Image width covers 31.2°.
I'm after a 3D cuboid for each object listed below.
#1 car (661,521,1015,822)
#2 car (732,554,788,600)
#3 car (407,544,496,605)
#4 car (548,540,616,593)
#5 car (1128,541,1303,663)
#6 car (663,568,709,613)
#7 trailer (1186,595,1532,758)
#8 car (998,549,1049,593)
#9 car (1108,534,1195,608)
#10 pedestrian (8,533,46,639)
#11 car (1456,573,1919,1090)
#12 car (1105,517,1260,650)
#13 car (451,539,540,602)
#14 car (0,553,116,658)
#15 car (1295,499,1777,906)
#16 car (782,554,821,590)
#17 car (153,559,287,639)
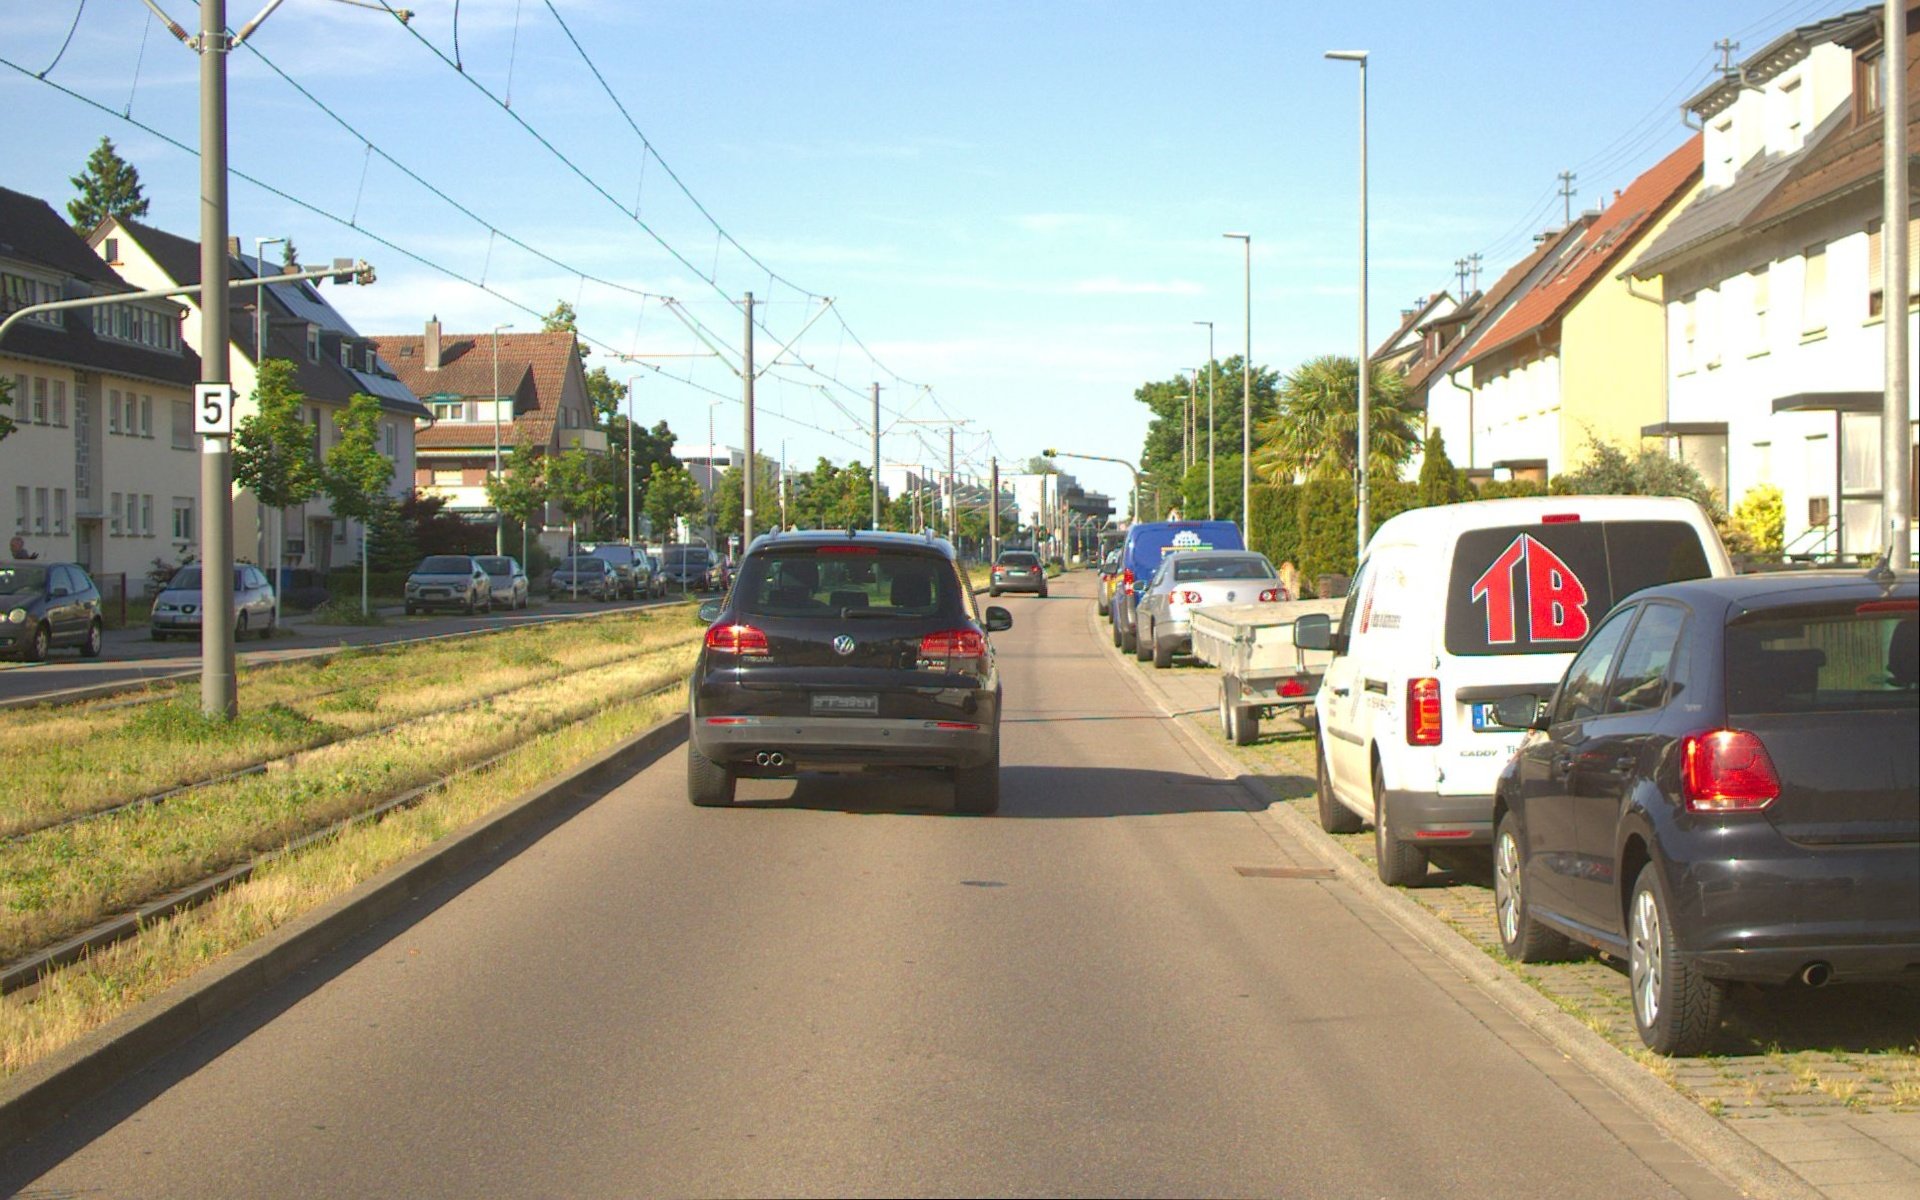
[{"bbox_3d":[-0.867,0.389,21.538,1.811,1.665,4.259,1,0,-7],"label":"car"},{"bbox_3d":[-7.580,-0.874,130.640,1.873,1.649,4.000,-1,-1,0],"label":"car"},{"bbox_3d":[-12.760,-0.650,86.394,1.659,1.491,3.579,-1,1,1],"label":"car"},{"bbox_3d":[-11.908,-1.047,108.513,1.660,1.575,4.000,-1,-1,1],"label":"car"},{"bbox_3d":[3.252,-0.008,44.510,1.786,1.436,4.460,-2,1,-1],"label":"car"},{"bbox_3d":[-10.470,-0.354,131.521,1.465,1.671,3.287,-1,0,0],"label":"car"},{"bbox_3d":[3.110,0.565,27.739,2.204,1.090,4.372,-2,1,-1],"label":"trailer"},{"bbox_3d":[2.016,-0.944,110.375,1.572,1.386,3.614,-1,1,0],"label":"car"},{"bbox_3d":[4.022,-0.617,72.730,1.645,1.529,3.864,0,1,0],"label":"car"},{"bbox_3d":[-15.424,-0.231,56.839,0.468,1.740,0.536,0,1,0],"label":"pedestrian"},{"bbox_3d":[2.852,0.644,11.873,1.671,1.448,4.126,-1,1,0],"label":"car"},{"bbox_3d":[3.235,-0.277,50.874,1.993,1.855,4.917,-1,1,0],"label":"car"},{"bbox_3d":[-12.481,-0.818,92.549,1.803,1.626,4.000,-1,1,1],"label":"car"},{"bbox_3d":[-13.821,0.060,50.520,1.619,1.448,3.717,-1,1,5],"label":"car"},{"bbox_3d":[2.751,0.408,17.394,1.690,1.770,4.656,-1,1,1],"label":"car"},{"bbox_3d":[-6.597,-1.153,143.226,1.465,1.449,3.287,-1,0,0],"label":"car"},{"bbox_3d":[-13.583,0.011,63.265,1.618,1.404,3.717,-1,-1,1],"label":"car"}]
